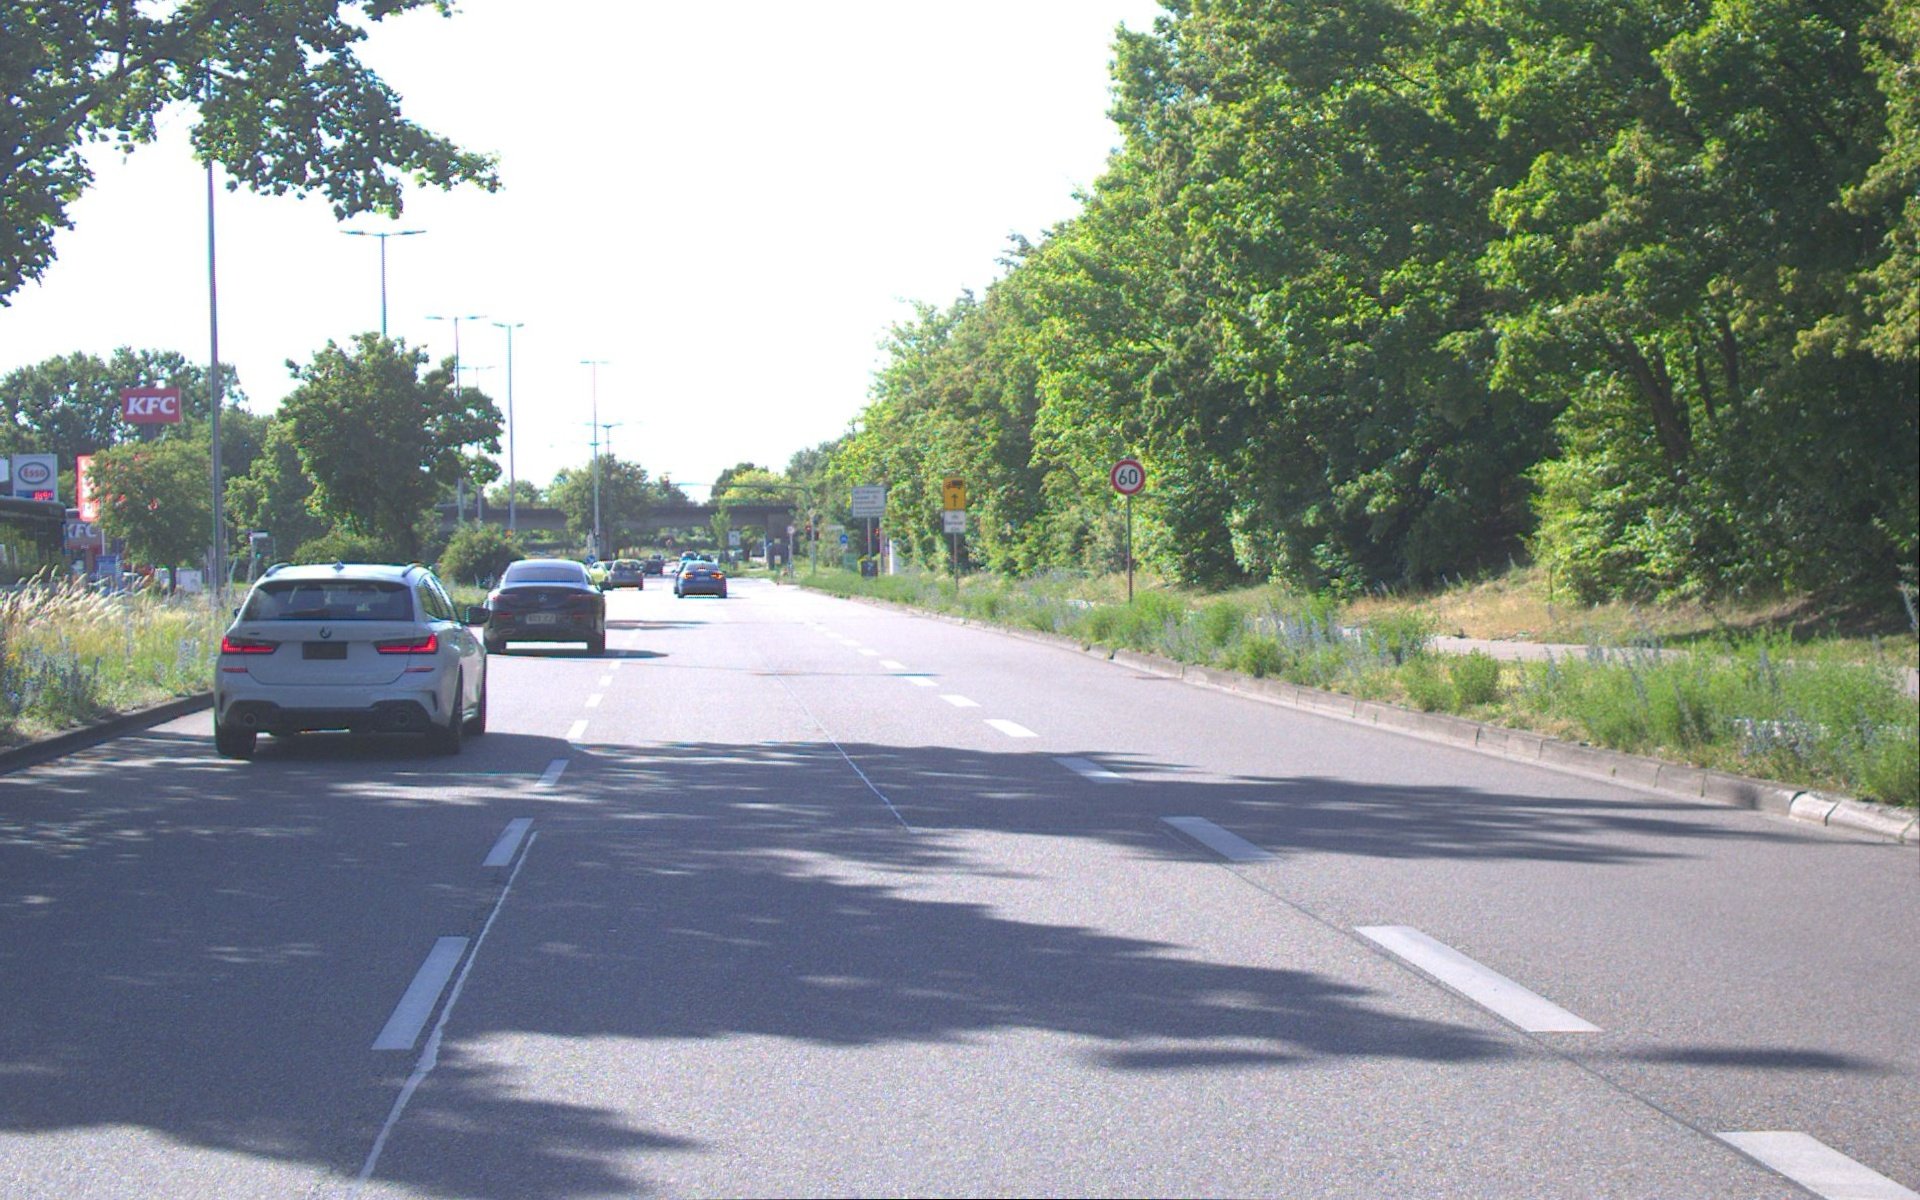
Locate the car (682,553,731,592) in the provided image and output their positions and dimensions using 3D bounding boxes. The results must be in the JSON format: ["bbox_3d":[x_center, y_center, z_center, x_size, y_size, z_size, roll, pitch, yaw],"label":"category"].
[{"bbox_3d":[-10.013,-1.093,135.377,1.861,1.494,4.337,-1,1,-5],"label":"car"}]

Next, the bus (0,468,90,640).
[{"bbox_3d":[-16.665,-0.694,56.474,2.721,2.712,11.090,-4,1,-5],"label":"bus"}]

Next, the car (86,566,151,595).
[{"bbox_3d":[-52.670,-1.204,215.192,4.083,1.777,1.922,0,1,42],"label":"car"}]

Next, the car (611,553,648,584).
[{"bbox_3d":[-17.105,-1.632,178.102,1.861,1.560,4.548,-1,1,-5],"label":"car"}]

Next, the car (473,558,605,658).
[{"bbox_3d":[-6.515,0.093,53.548,1.861,1.450,4.548,-1,1,-5],"label":"car"}]

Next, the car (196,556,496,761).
[{"bbox_3d":[-4.741,0.396,27.109,1.861,1.450,4.548,0,1,-4],"label":"car"}]
